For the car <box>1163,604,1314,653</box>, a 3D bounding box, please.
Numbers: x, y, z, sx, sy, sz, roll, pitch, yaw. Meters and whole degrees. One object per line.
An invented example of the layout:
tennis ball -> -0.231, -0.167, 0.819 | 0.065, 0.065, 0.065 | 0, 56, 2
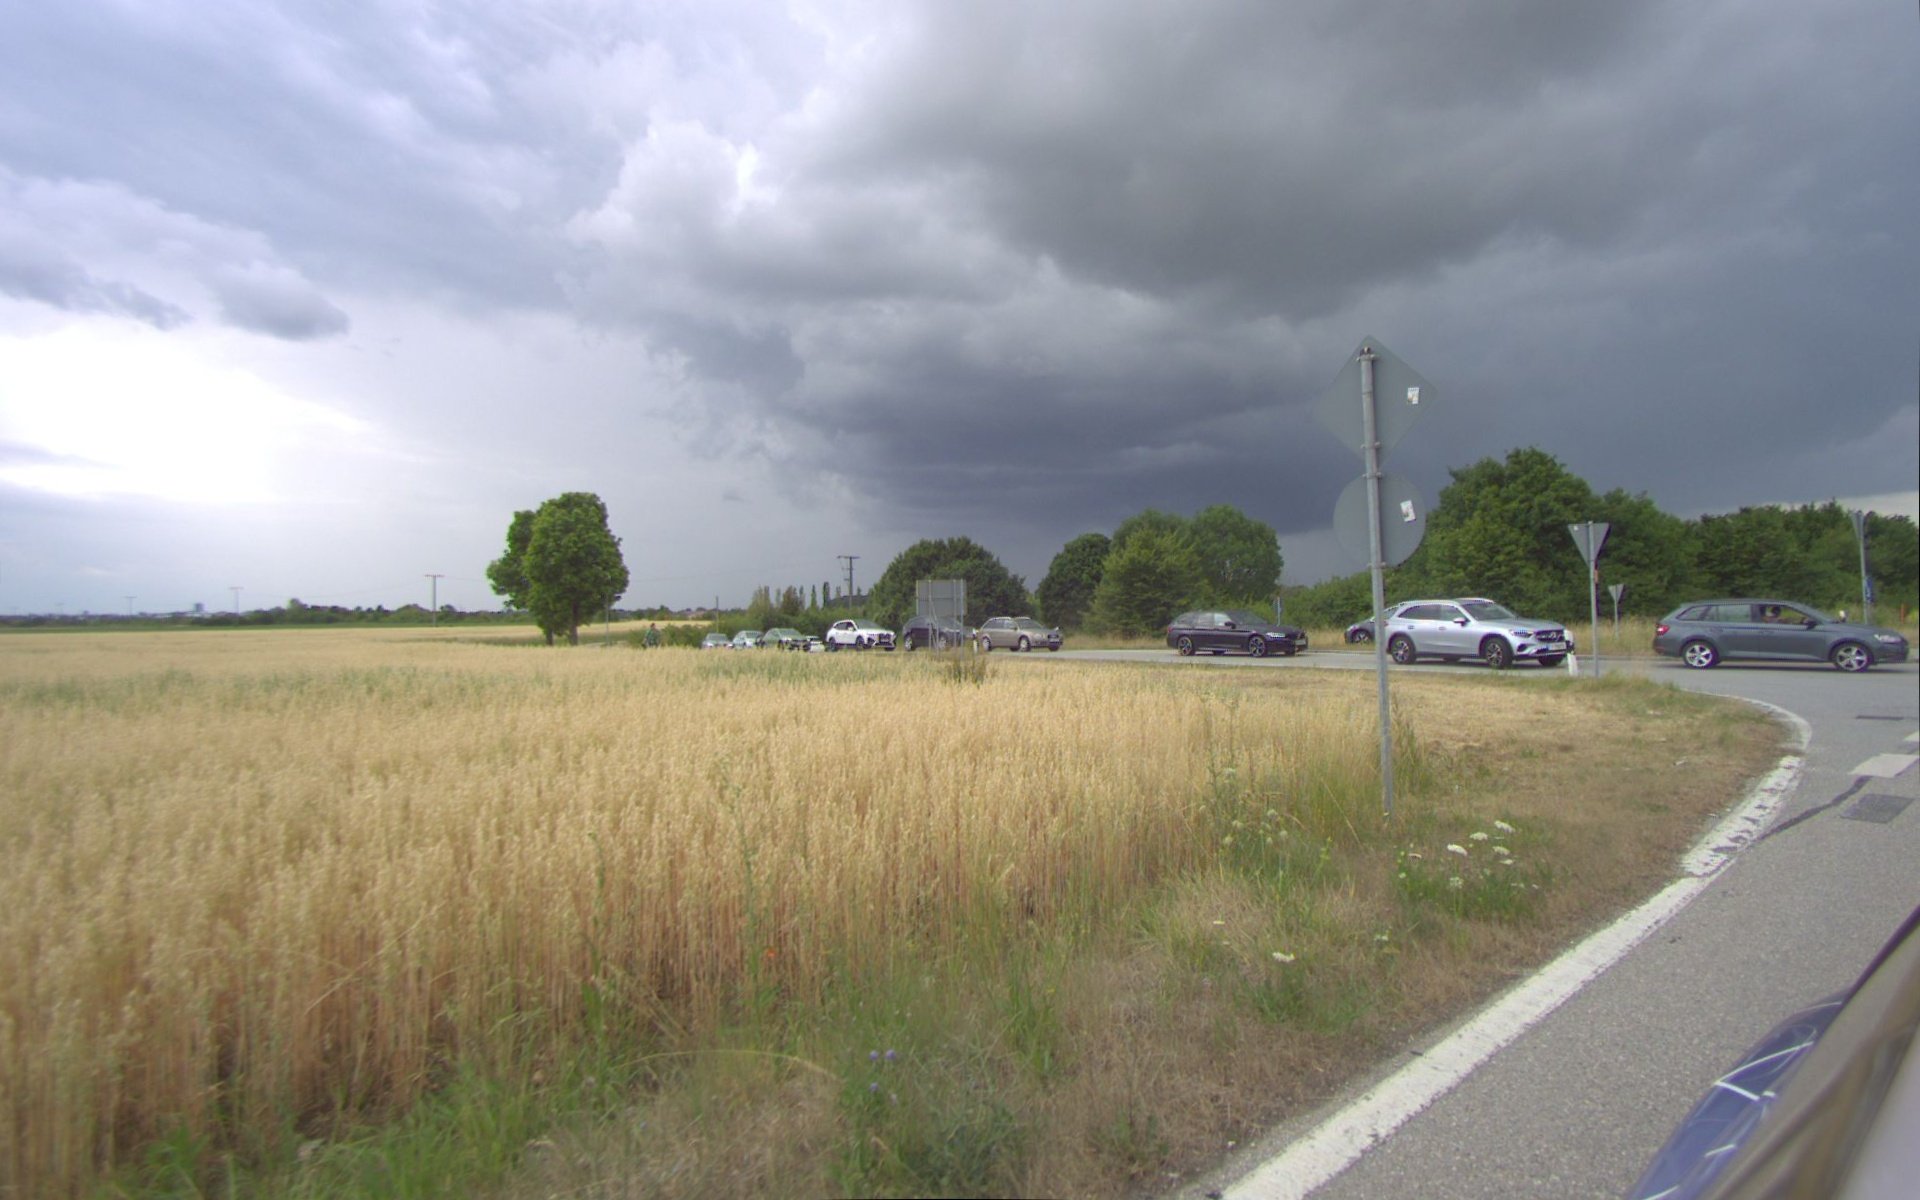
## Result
car -> 8.825, 0.877, 32.456 | 1.689, 1.370, 4.696 | -3, 1, -33

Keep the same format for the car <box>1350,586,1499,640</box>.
car -> 15.627, 0.392, 34.204 | 1.723, 1.679, 4.284 | 0, 0, -40

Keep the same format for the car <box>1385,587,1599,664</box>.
car -> 12.775, 0.573, 24.661 | 1.956, 1.606, 4.403 | -3, 1, -19

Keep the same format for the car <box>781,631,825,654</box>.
car -> -10.814, 2.898, 69.418 | 1.735, 1.470, 4.398 | 0, -1, -26

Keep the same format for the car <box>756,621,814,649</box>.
car -> -10.339, 2.019, 59.547 | 1.690, 1.513, 4.213 | -3, 1, -35

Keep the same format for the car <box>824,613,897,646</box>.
car -> -5.222, 1.515, 52.617 | 1.690, 1.513, 4.637 | -3, 1, -35

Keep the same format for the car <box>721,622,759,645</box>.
car -> -14.267, 2.134, 65.508 | 1.542, 1.363, 3.503 | 0, 0, -28

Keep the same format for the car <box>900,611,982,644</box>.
car -> -0.912, 1.260, 46.665 | 1.690, 1.370, 4.213 | -3, 1, -35

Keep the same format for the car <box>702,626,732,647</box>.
car -> -17.465, 2.586, 72.634 | 1.541, 1.363, 3.505 | 0, 0, -23

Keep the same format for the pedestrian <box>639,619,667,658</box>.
pedestrian -> -13.010, 1.612, 42.873 | 0.939, 1.632, 0.763 | -2, -2, 37

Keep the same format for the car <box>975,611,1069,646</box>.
car -> 2.535, 1.175, 42.295 | 1.689, 1.370, 4.213 | 0, -1, -35

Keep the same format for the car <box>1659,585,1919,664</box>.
car -> 17.247, 0.500, 21.157 | 4.103, 1.465, 1.692 | -2, 0, 44
